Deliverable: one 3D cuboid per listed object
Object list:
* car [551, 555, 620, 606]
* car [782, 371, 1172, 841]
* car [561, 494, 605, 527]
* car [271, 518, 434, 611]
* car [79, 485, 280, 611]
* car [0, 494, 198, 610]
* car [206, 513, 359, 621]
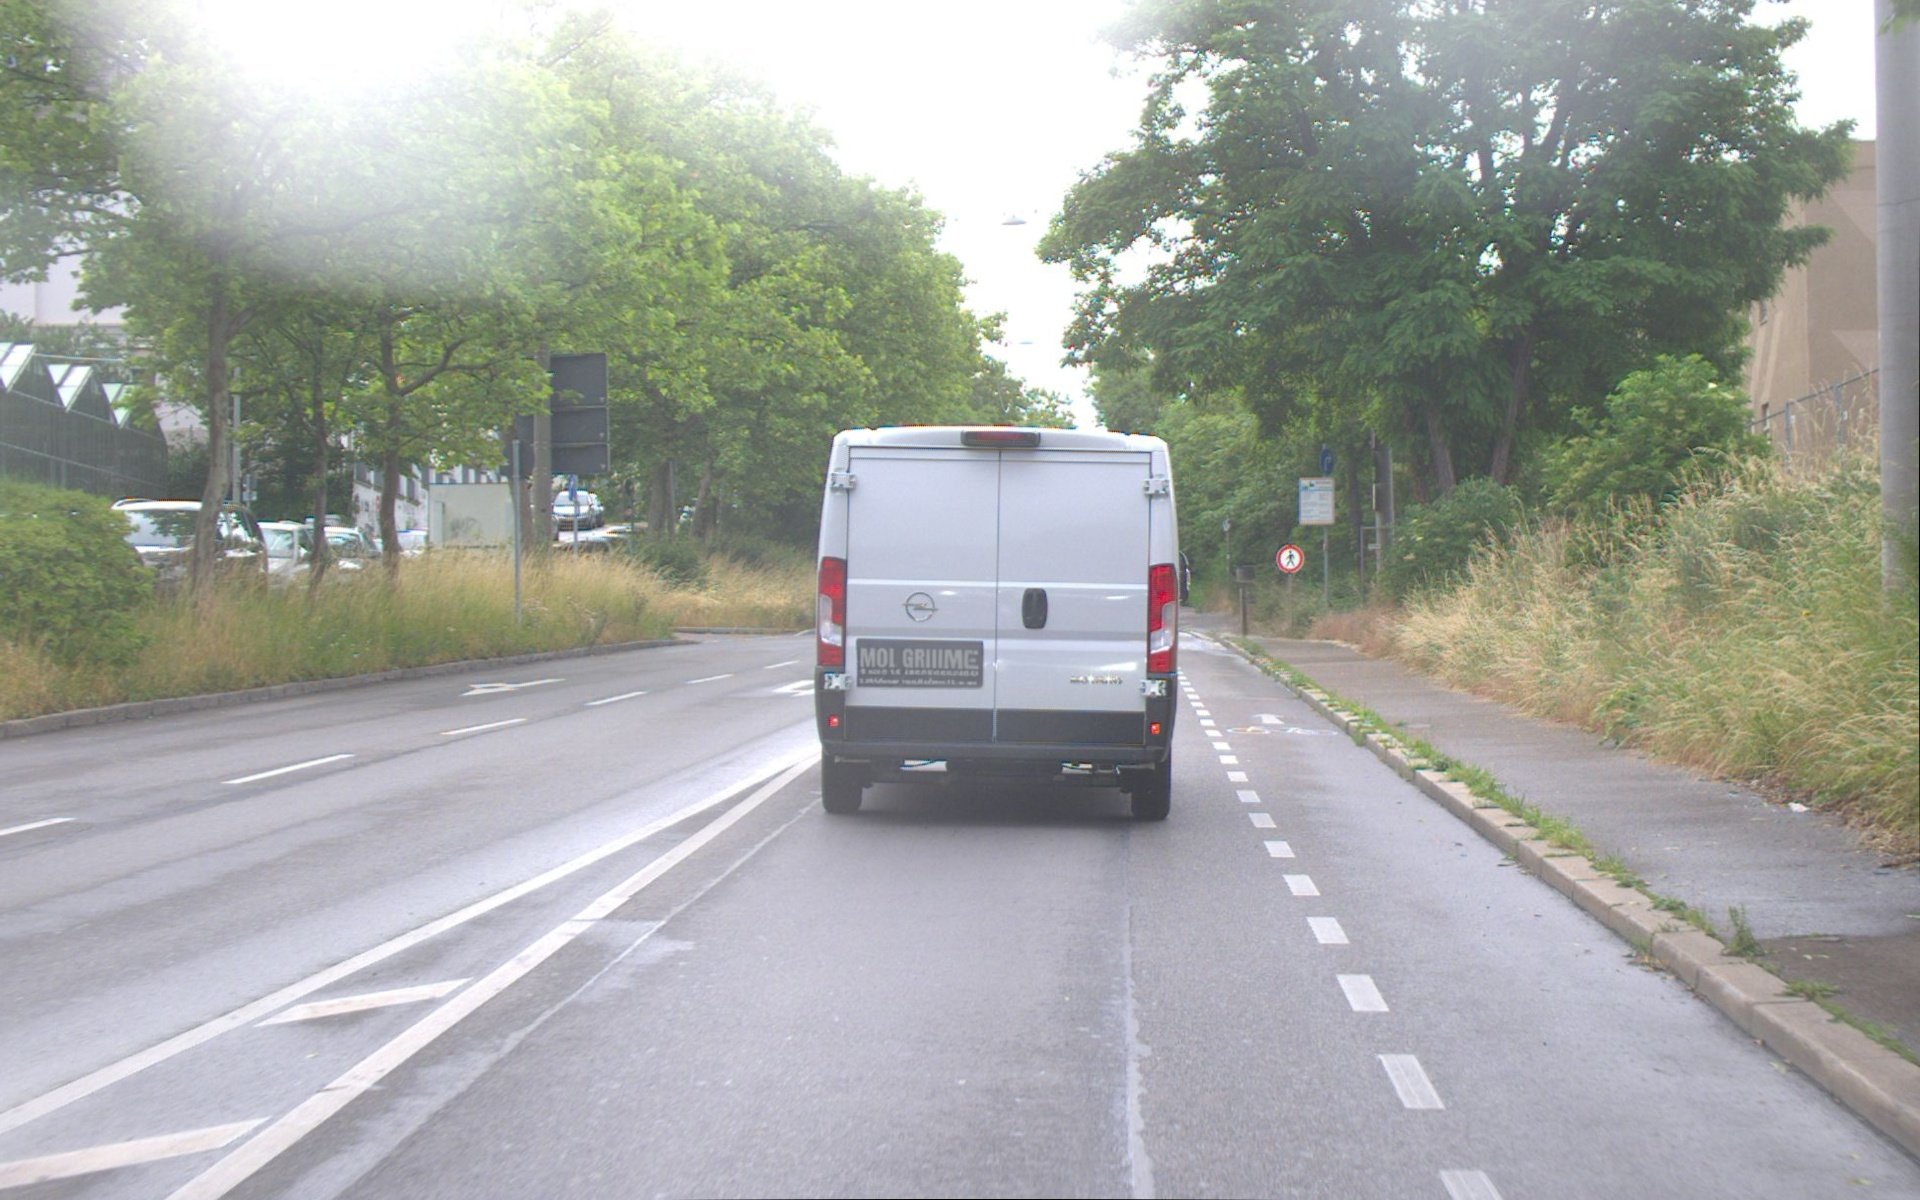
[{"bbox_3d":[-8.940,-0.461,82.175,1.350,1.127,2.752,0,-1,0],"label":"car"},{"bbox_3d":[0.097,-0.053,21.317,2.050,2.508,4.944,2,2,0],"label":"car"},{"bbox_3d":[-16.029,-3.819,146.307,1.599,1.246,2.911,0,-1,-1],"label":"car"},{"bbox_3d":[-9.427,-0.522,53.658,1.537,1.289,4.544,-1,-1,3],"label":"car"},{"bbox_3d":[-9.836,-0.625,43.579,1.653,1.447,3.645,-1,-1,1],"label":"car"},{"bbox_3d":[-9.858,-0.532,38.150,1.698,1.201,4.219,-1,1,3],"label":"car"},{"bbox_3d":[-9.583,-0.437,48.830,1.360,1.390,3.707,-1,-1,1],"label":"car"}]
